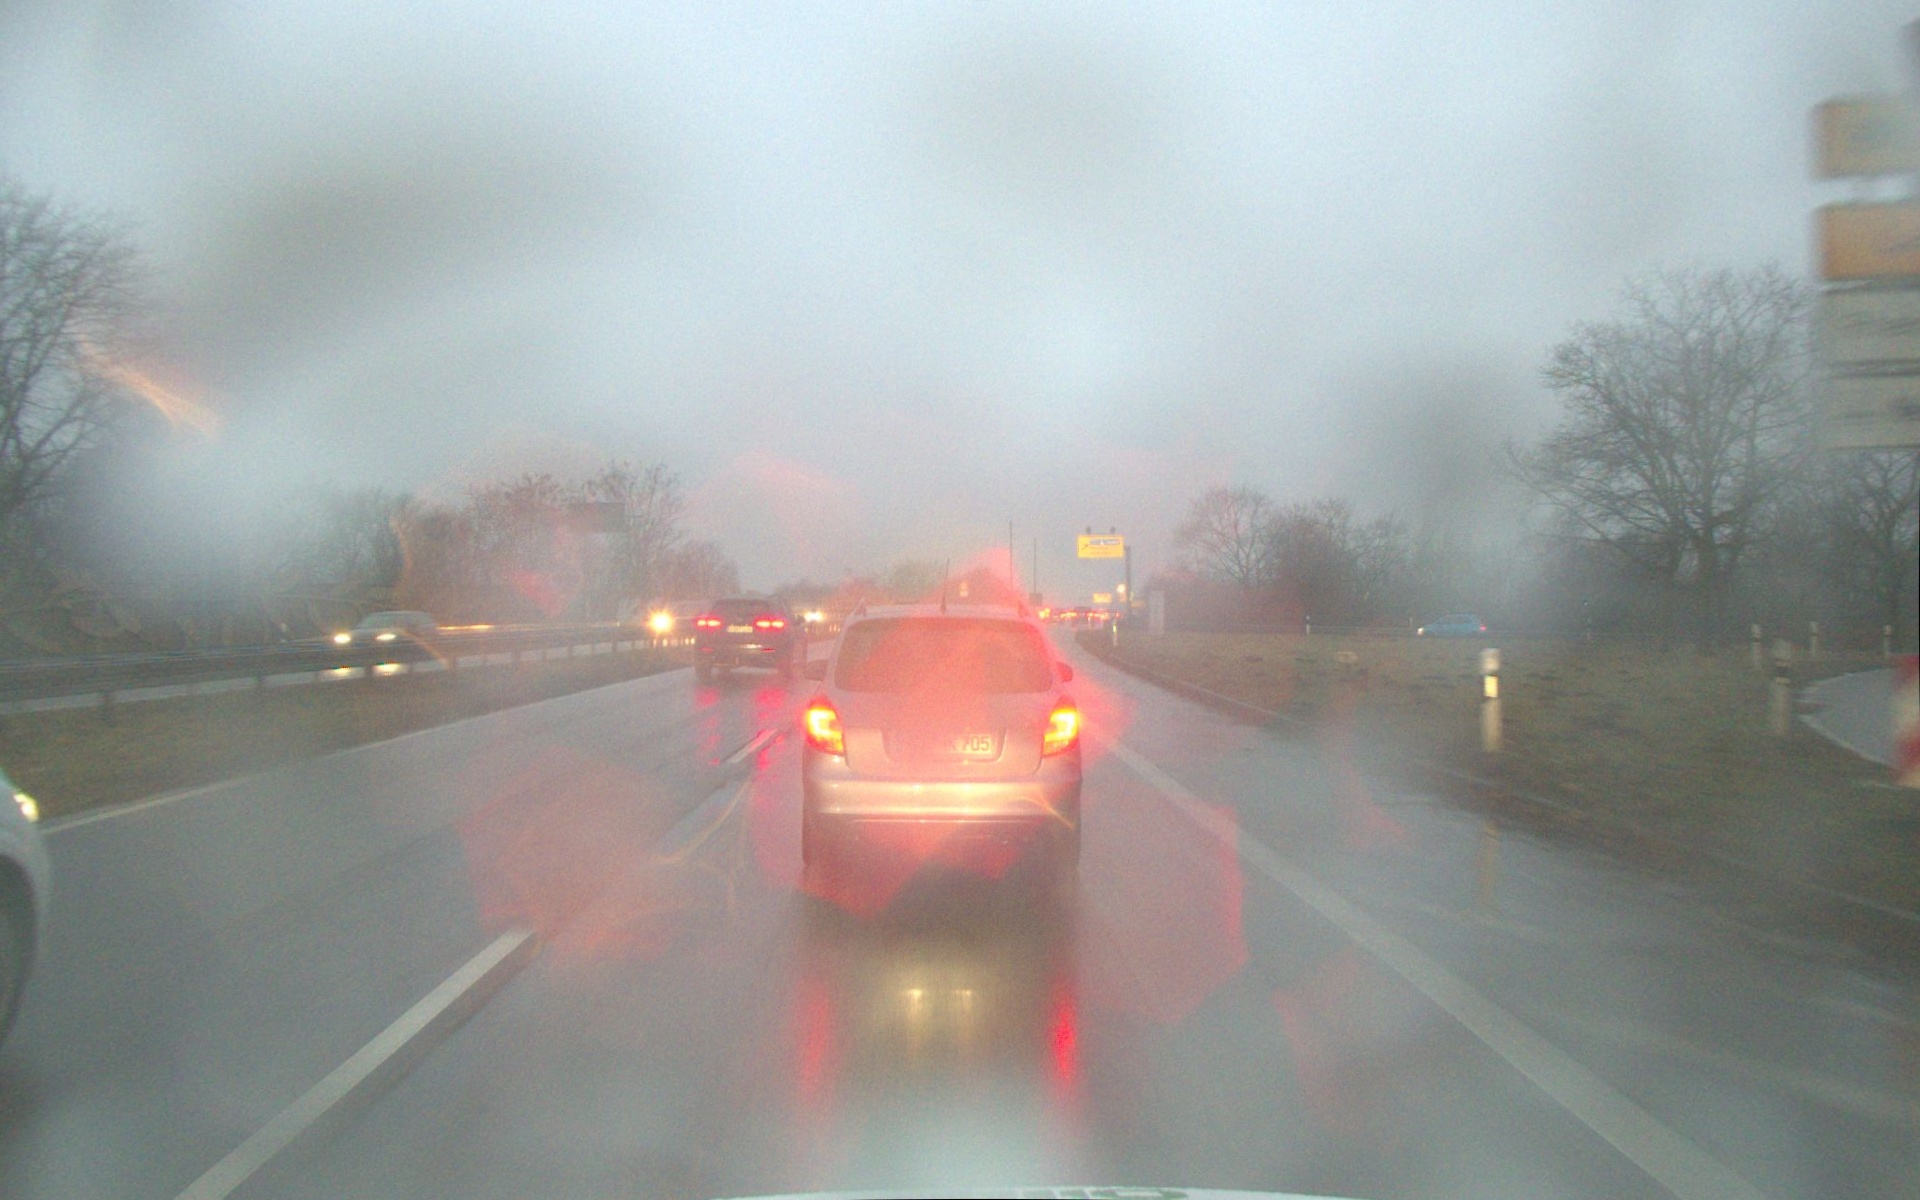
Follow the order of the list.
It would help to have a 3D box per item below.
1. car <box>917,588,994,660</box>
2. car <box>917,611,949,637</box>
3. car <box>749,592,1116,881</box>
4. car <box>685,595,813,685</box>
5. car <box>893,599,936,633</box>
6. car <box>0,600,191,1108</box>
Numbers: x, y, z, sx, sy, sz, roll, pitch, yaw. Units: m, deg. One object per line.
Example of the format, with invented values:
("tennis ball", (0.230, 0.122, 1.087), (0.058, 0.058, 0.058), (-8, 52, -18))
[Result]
("car", (-0.068, 0.611, 43.950), (1.858, 1.798, 4.309), (-1, 0, 2))
("car", (-1.664, 1.463, 102.549), (1.752, 1.572, 4.001), (-1, 0, 2))
("car", (-0.112, 0.750, 10.872), (1.952, 1.527, 4.138), (0, -1, 1))
("car", (-4.134, 0.758, 33.073), (1.953, 1.629, 4.308), (2, 0, 0))
("car", (-2.130, 0.743, 78.247), (1.752, 1.572, 4.001), (-1, 0, 2))
("car", (-3.656, 0.744, 3.789), (1.688, 1.465, 4.227), (-1, 0, 2))
